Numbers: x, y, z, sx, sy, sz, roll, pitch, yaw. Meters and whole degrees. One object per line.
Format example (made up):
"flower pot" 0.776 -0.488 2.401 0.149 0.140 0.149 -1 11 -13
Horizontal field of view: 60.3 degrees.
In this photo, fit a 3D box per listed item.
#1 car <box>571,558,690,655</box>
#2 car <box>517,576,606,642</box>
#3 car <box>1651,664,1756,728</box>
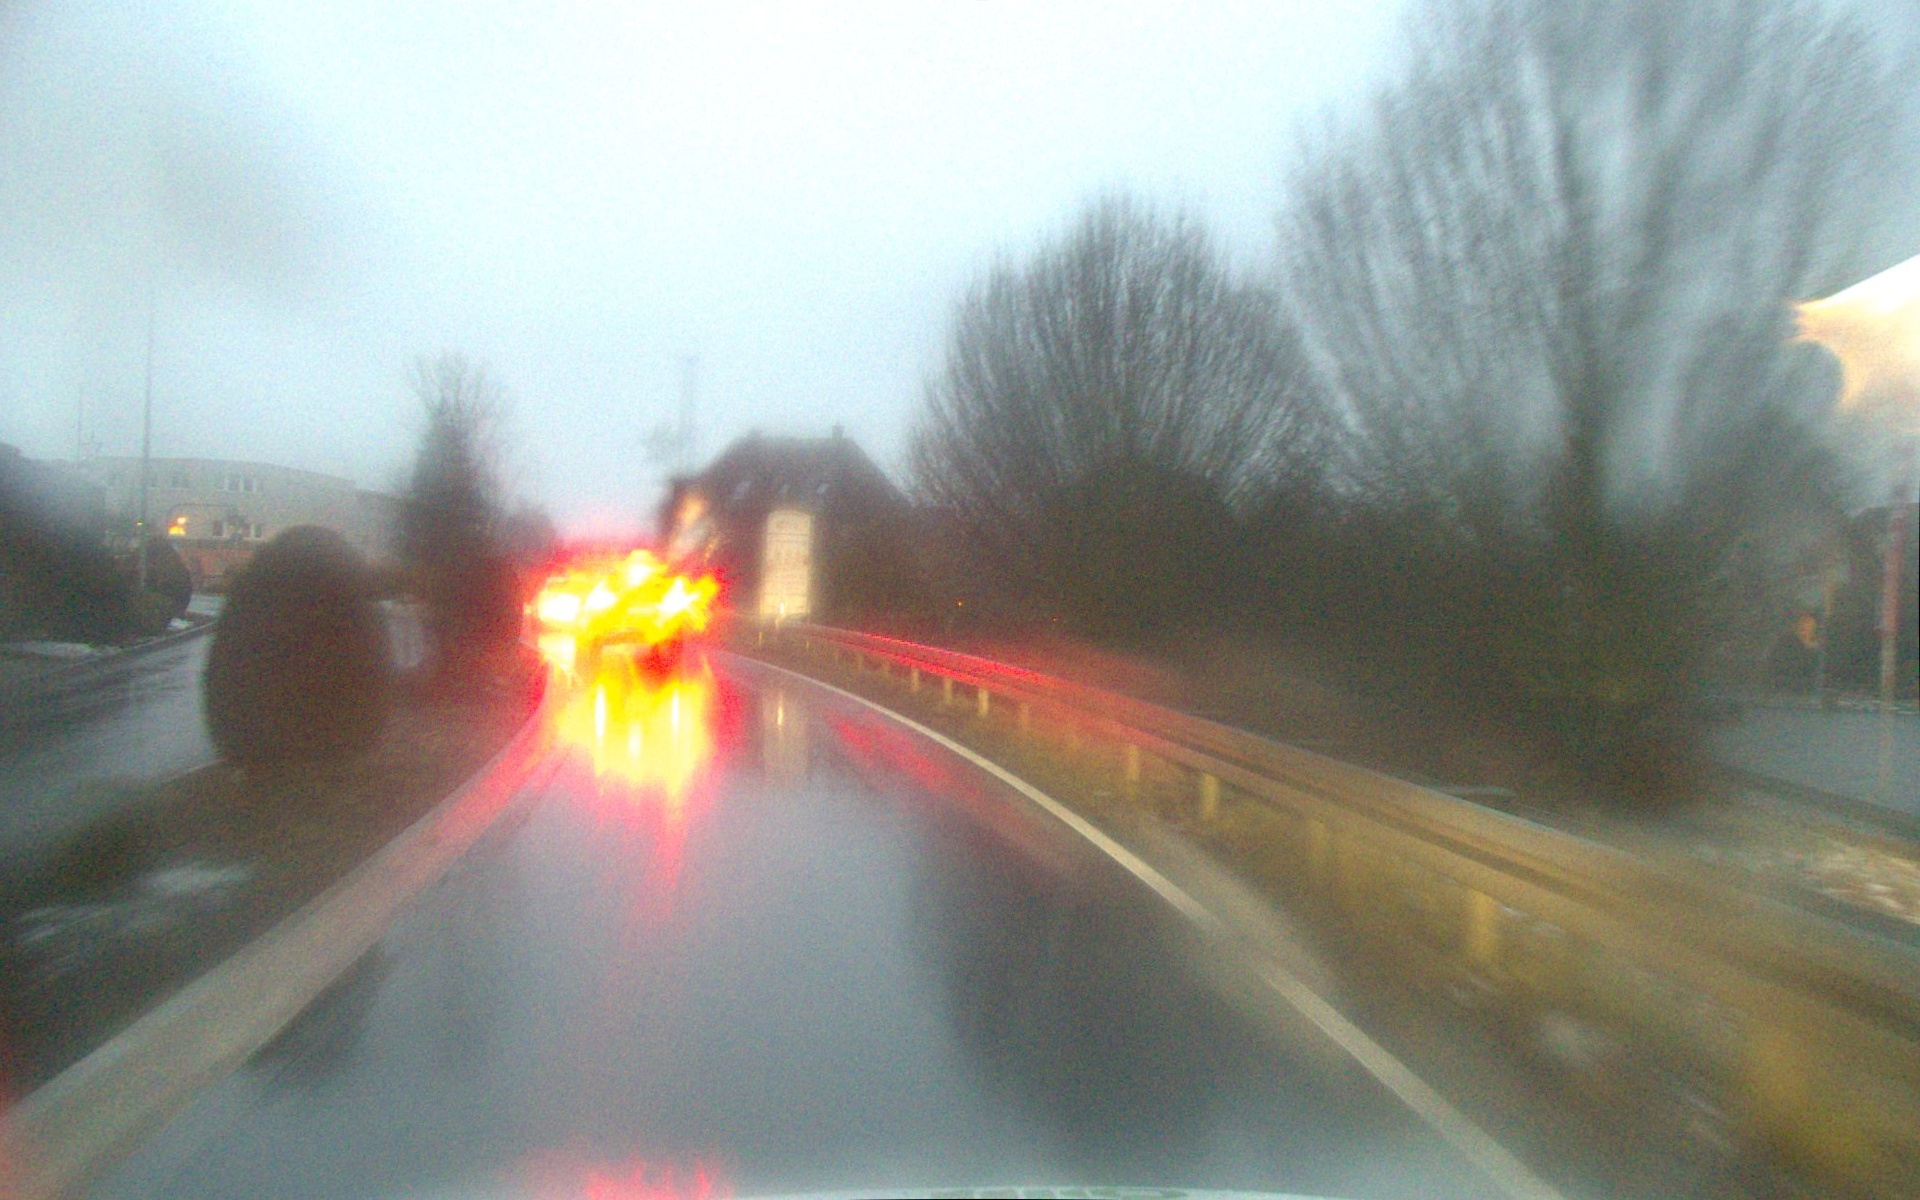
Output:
"car" -6.666 0.118 33.197 1.913 1.748 3.981 2 0 -17
"car" -11.588 0.227 47.888 2.130 1.719 4.548 2 1 -18
"car" 21.419 2.738 47.826 1.895 1.574 4.003 1 0 11
